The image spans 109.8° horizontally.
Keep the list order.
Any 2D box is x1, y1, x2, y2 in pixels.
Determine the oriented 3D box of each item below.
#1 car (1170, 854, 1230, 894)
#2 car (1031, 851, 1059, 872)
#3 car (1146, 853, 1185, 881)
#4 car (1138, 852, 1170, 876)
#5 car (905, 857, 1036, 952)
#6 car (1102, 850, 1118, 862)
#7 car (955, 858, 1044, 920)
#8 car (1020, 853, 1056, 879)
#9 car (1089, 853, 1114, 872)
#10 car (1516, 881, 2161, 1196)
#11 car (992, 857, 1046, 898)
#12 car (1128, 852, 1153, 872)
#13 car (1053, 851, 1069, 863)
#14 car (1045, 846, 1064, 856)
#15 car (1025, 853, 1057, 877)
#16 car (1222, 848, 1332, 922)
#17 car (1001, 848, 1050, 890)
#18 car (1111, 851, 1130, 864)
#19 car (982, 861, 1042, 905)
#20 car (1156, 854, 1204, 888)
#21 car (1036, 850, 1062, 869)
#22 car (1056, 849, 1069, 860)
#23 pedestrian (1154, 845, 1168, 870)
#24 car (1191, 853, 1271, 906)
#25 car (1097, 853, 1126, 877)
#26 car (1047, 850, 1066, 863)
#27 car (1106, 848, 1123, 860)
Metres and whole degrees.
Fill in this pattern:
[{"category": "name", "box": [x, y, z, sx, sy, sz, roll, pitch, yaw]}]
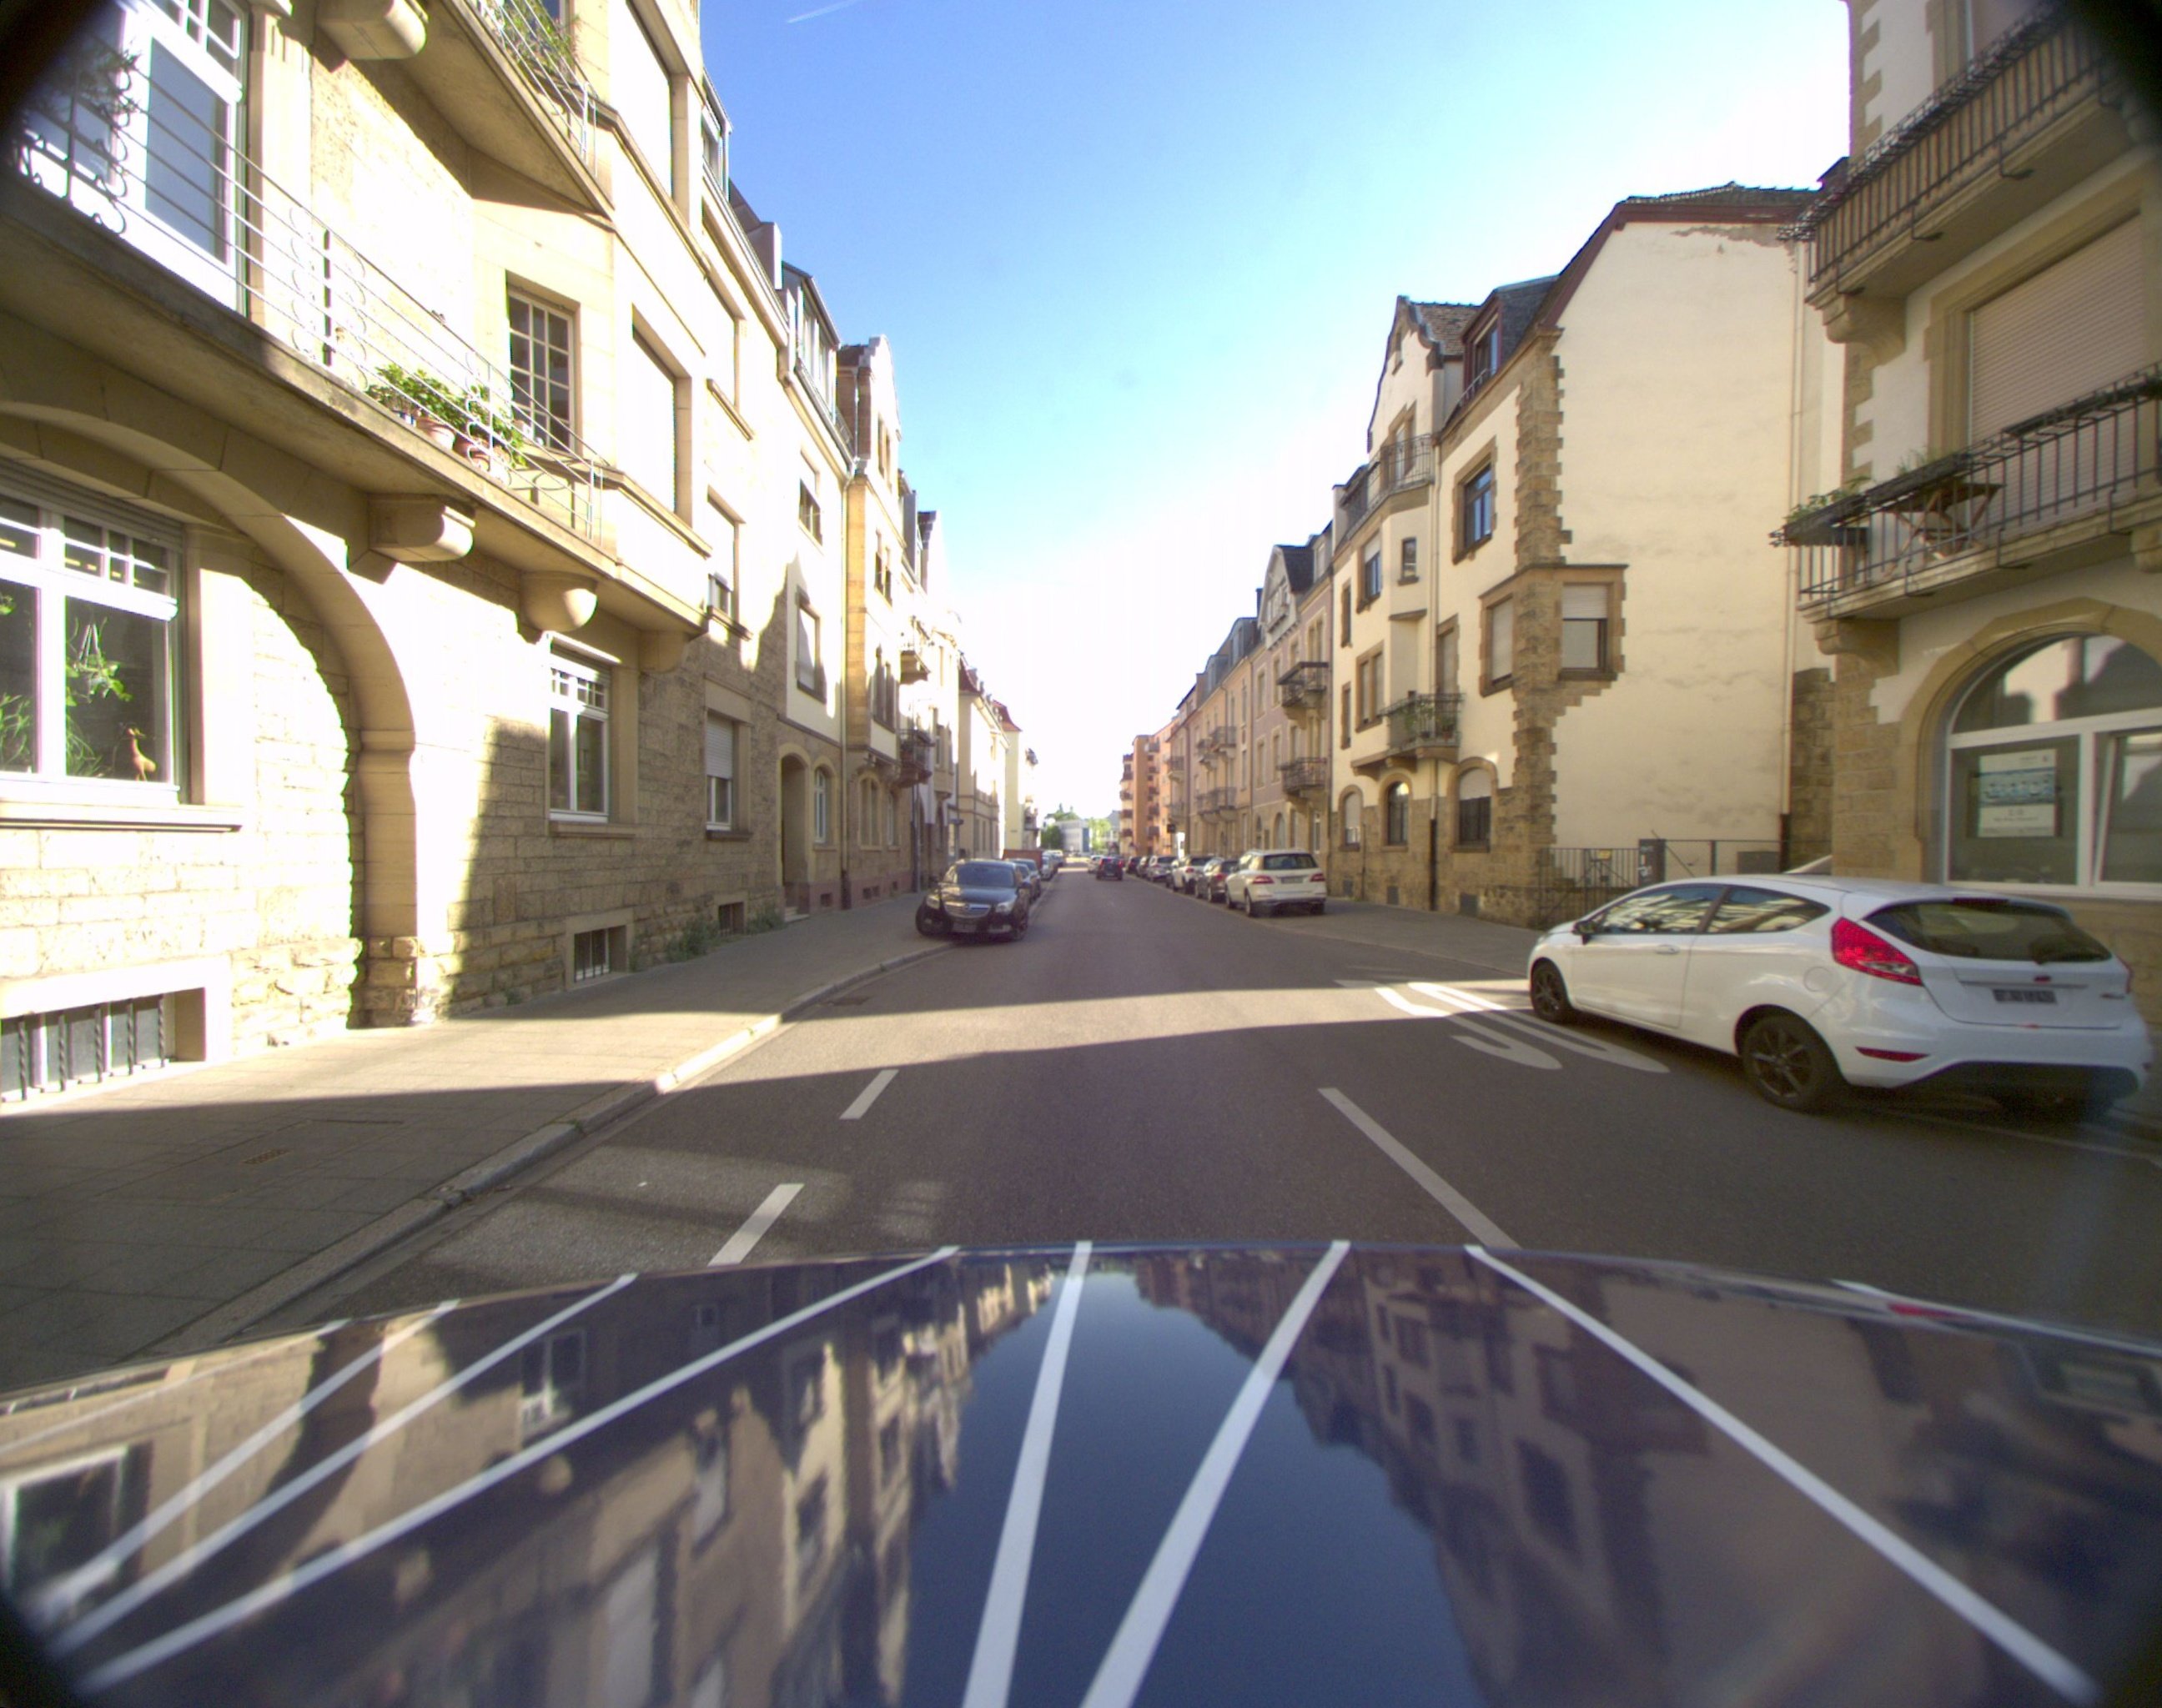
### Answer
[{"category": "car", "box": [4.986, 0.791, 32.368, 1.890, 1.500, 4.320, -2, 1, 1]}, {"category": "car", "box": [-2.745, 0.531, 58.667, 2.005, 1.500, 4.320, 1, 1, -1]}, {"category": "car", "box": [5.022, 0.729, 45.851, 1.890, 1.500, 4.320, -2, 1, 1]}, {"category": "car", "box": [4.992, 0.663, 52.353, 1.809, 1.500, 4.003, -2, 1, 1]}, {"category": "car", "box": [-2.035, 0.880, 15.246, 2.024, 1.500, 4.111, 2, 1, -1]}, {"category": "car", "box": [4.110, 0.279, 107.253, 2.005, 1.500, 4.320, 1, 1, -1]}, {"category": "car", "box": [-2.095, 0.872, 20.801, 2.005, 1.499, 4.321, 1, 0, -1]}, {"category": "car", "box": [-2.652, 0.713, 47.869, 2.005, 1.500, 4.320, 1, 1, -1]}, {"category": "car", "box": [1.687, 0.673, 63.297, 1.703, 1.474, 3.533, 1, 0, -4]}, {"category": "car", "box": [5.114, 1.013, 5.701, 1.656, 1.449, 3.643, 2, 0, 2]}, {"category": "car", "box": [-2.383, 0.888, 30.122, 1.824, 1.415, 4.320, 1, 1, -1]}, {"category": "car", "box": [4.893, 0.635, 62.975, 1.793, 1.500, 4.320, -2, 1, 1]}, {"category": "car", "box": [-2.585, 0.423, 99.954, 2.005, 1.500, 4.320, 1, 1, -1]}, {"category": "car", "box": [-5.931, -0.696, 168.749, 3.999, 2.002, 1.999, -2, 1, -6]}, {"category": "car", "box": [-2.748, 0.733, 52.642, 2.005, 1.500, 4.320, 1, 1, -1]}, {"category": "car", "box": [5.197, 0.749, 20.718, 1.890, 1.717, 4.211, -2, 1, 1]}, {"category": "car", "box": [-2.558, 0.647, 35.752, 2.005, 1.828, 4.320, 1, 1, -1]}, {"category": "car", "box": [4.671, 0.401, 91.393, 2.005, 1.500, 4.320, 1, 1, -1]}, {"category": "car", "box": [-2.232, 0.924, 25.380, 1.661, 1.272, 3.729, 1, 1, -1]}, {"category": "car", "box": [4.857, 0.813, 37.808, 1.857, 1.491, 4.318, -2, 1, 1]}, {"category": "car", "box": [-2.672, 0.447, 64.501, 2.005, 1.500, 4.320, 1, 1, -1]}, {"category": "car", "box": [-2.944, 0.059, 123.337, 2.005, 1.722, 4.320, 1, 1, -1]}, {"category": "pedestrian", "box": [6.512, 0.266, 61.879, 0.952, 2.002, 1.066, -2, 1, 0]}, {"category": "car", "box": [5.124, 0.817, 26.547, 1.890, 1.500, 4.320, -4, 1, 1]}, {"category": "car", "box": [1.904, 0.675, 48.566, 1.656, 1.449, 3.642, 0, 1, -1]}, {"category": "car", "box": [-2.846, 0.259, 88.980, 2.005, 1.500, 4.320, 1, 1, -1]}, {"category": "car", "box": [4.516, -0.006, 101.960, 2.005, 1.500, 4.320, 1, 1, -1]}]
